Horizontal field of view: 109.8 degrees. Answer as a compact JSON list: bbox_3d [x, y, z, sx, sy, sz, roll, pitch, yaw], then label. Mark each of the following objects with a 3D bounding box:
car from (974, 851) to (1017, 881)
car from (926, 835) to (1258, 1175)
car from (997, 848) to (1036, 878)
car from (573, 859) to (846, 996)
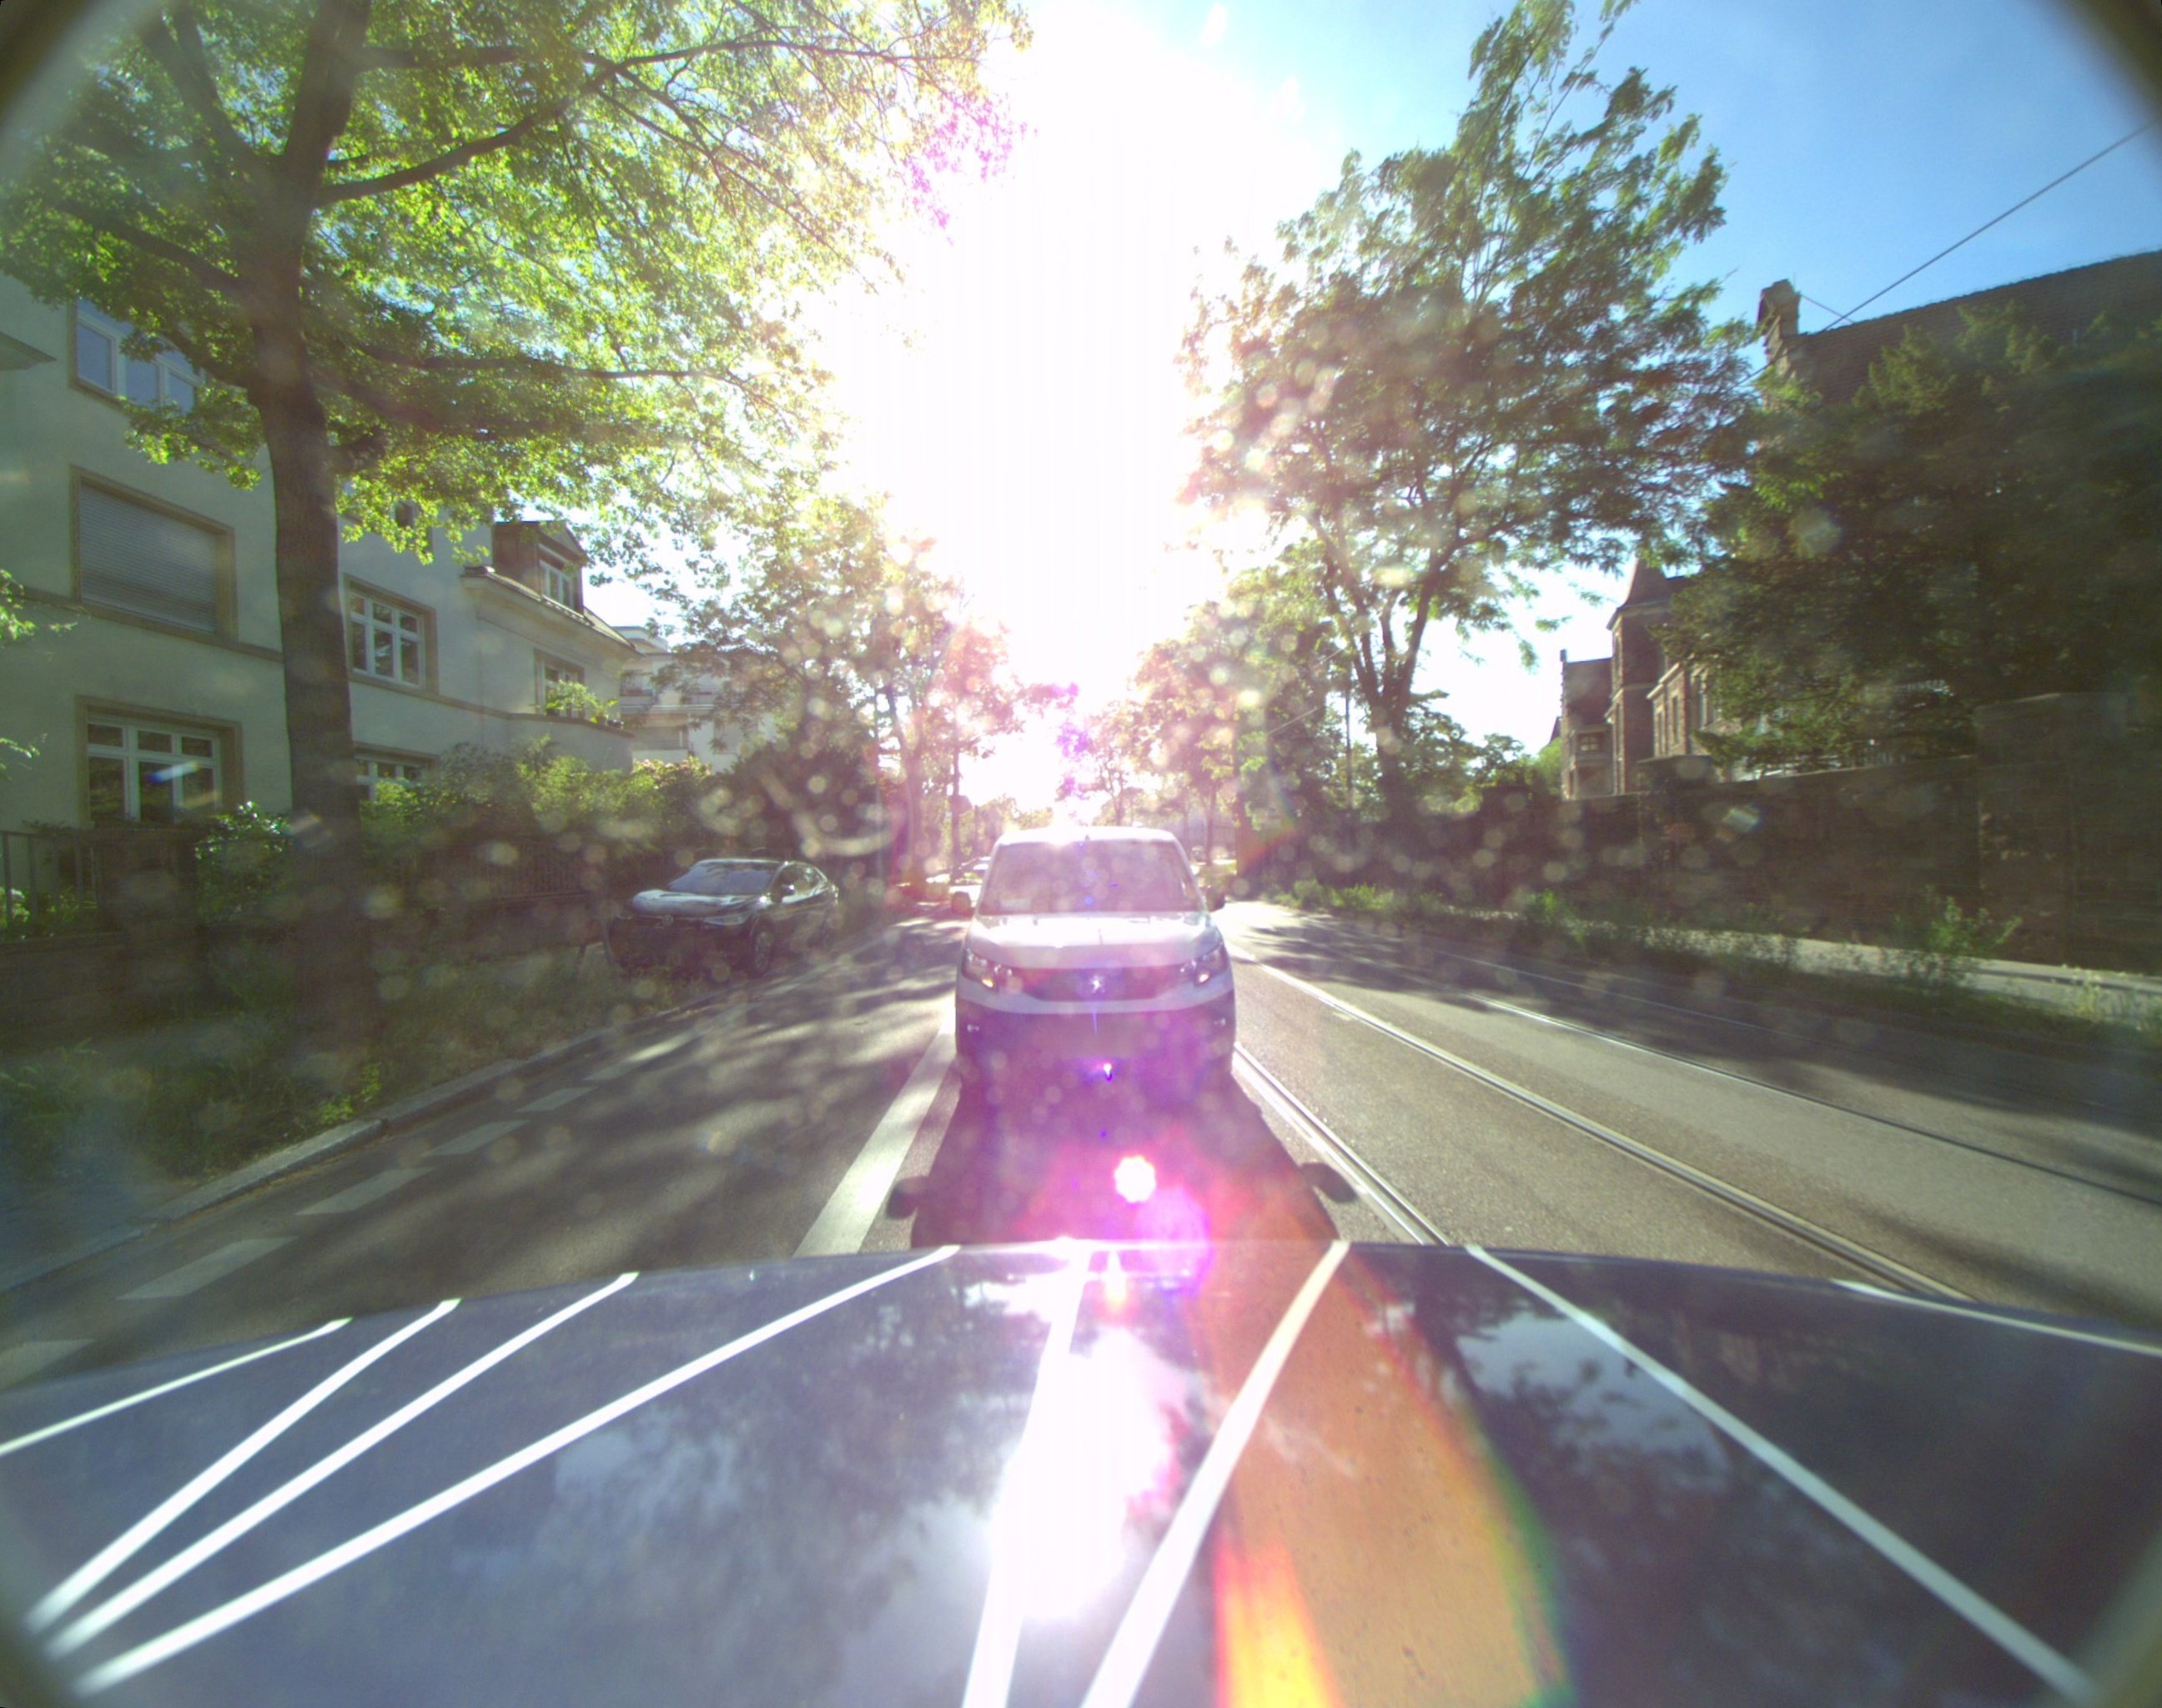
[{"bbox_3d":[-5.048,0.671,45.224,1.823,1.630,4.001,-2,0,4],"label":"car"},{"bbox_3d":[0.053,0.808,6.100,1.768,1.812,3.999,-1,0,0],"label":"car"},{"bbox_3d":[-4.331,0.571,51.880,2.129,1.884,4.746,-2,0,1],"label":"car"},{"bbox_3d":[-5.253,0.939,11.550,1.999,1.665,4.380,1,-1,0],"label":"car"}]
